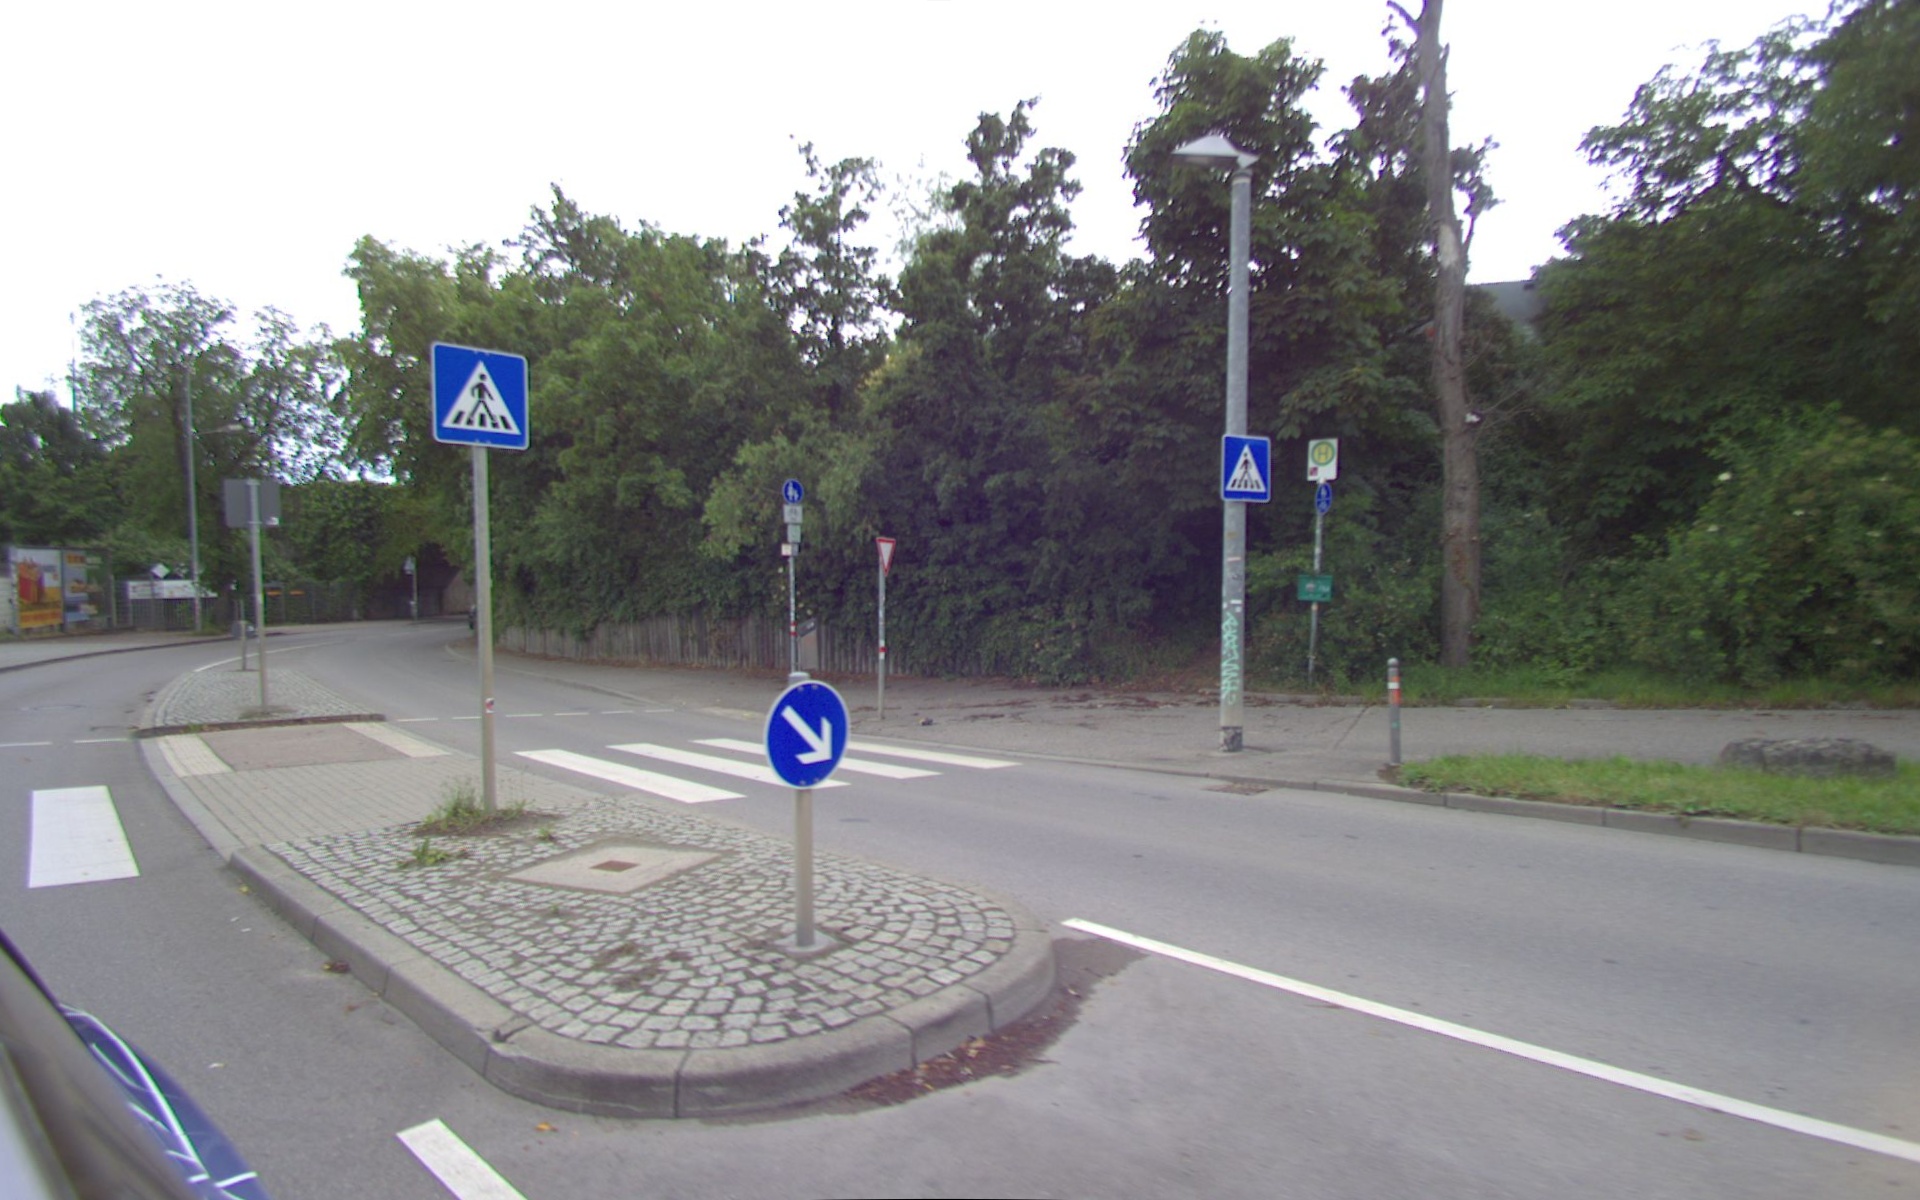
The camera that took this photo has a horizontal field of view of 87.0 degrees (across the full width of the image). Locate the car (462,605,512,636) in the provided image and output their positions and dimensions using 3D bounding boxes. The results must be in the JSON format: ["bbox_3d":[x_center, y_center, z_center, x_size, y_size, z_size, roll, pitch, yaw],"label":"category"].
[{"bbox_3d":[-25.883,1.118,55.522,1.778,1.622,4.188,2,-2,-15],"label":"car"}]
